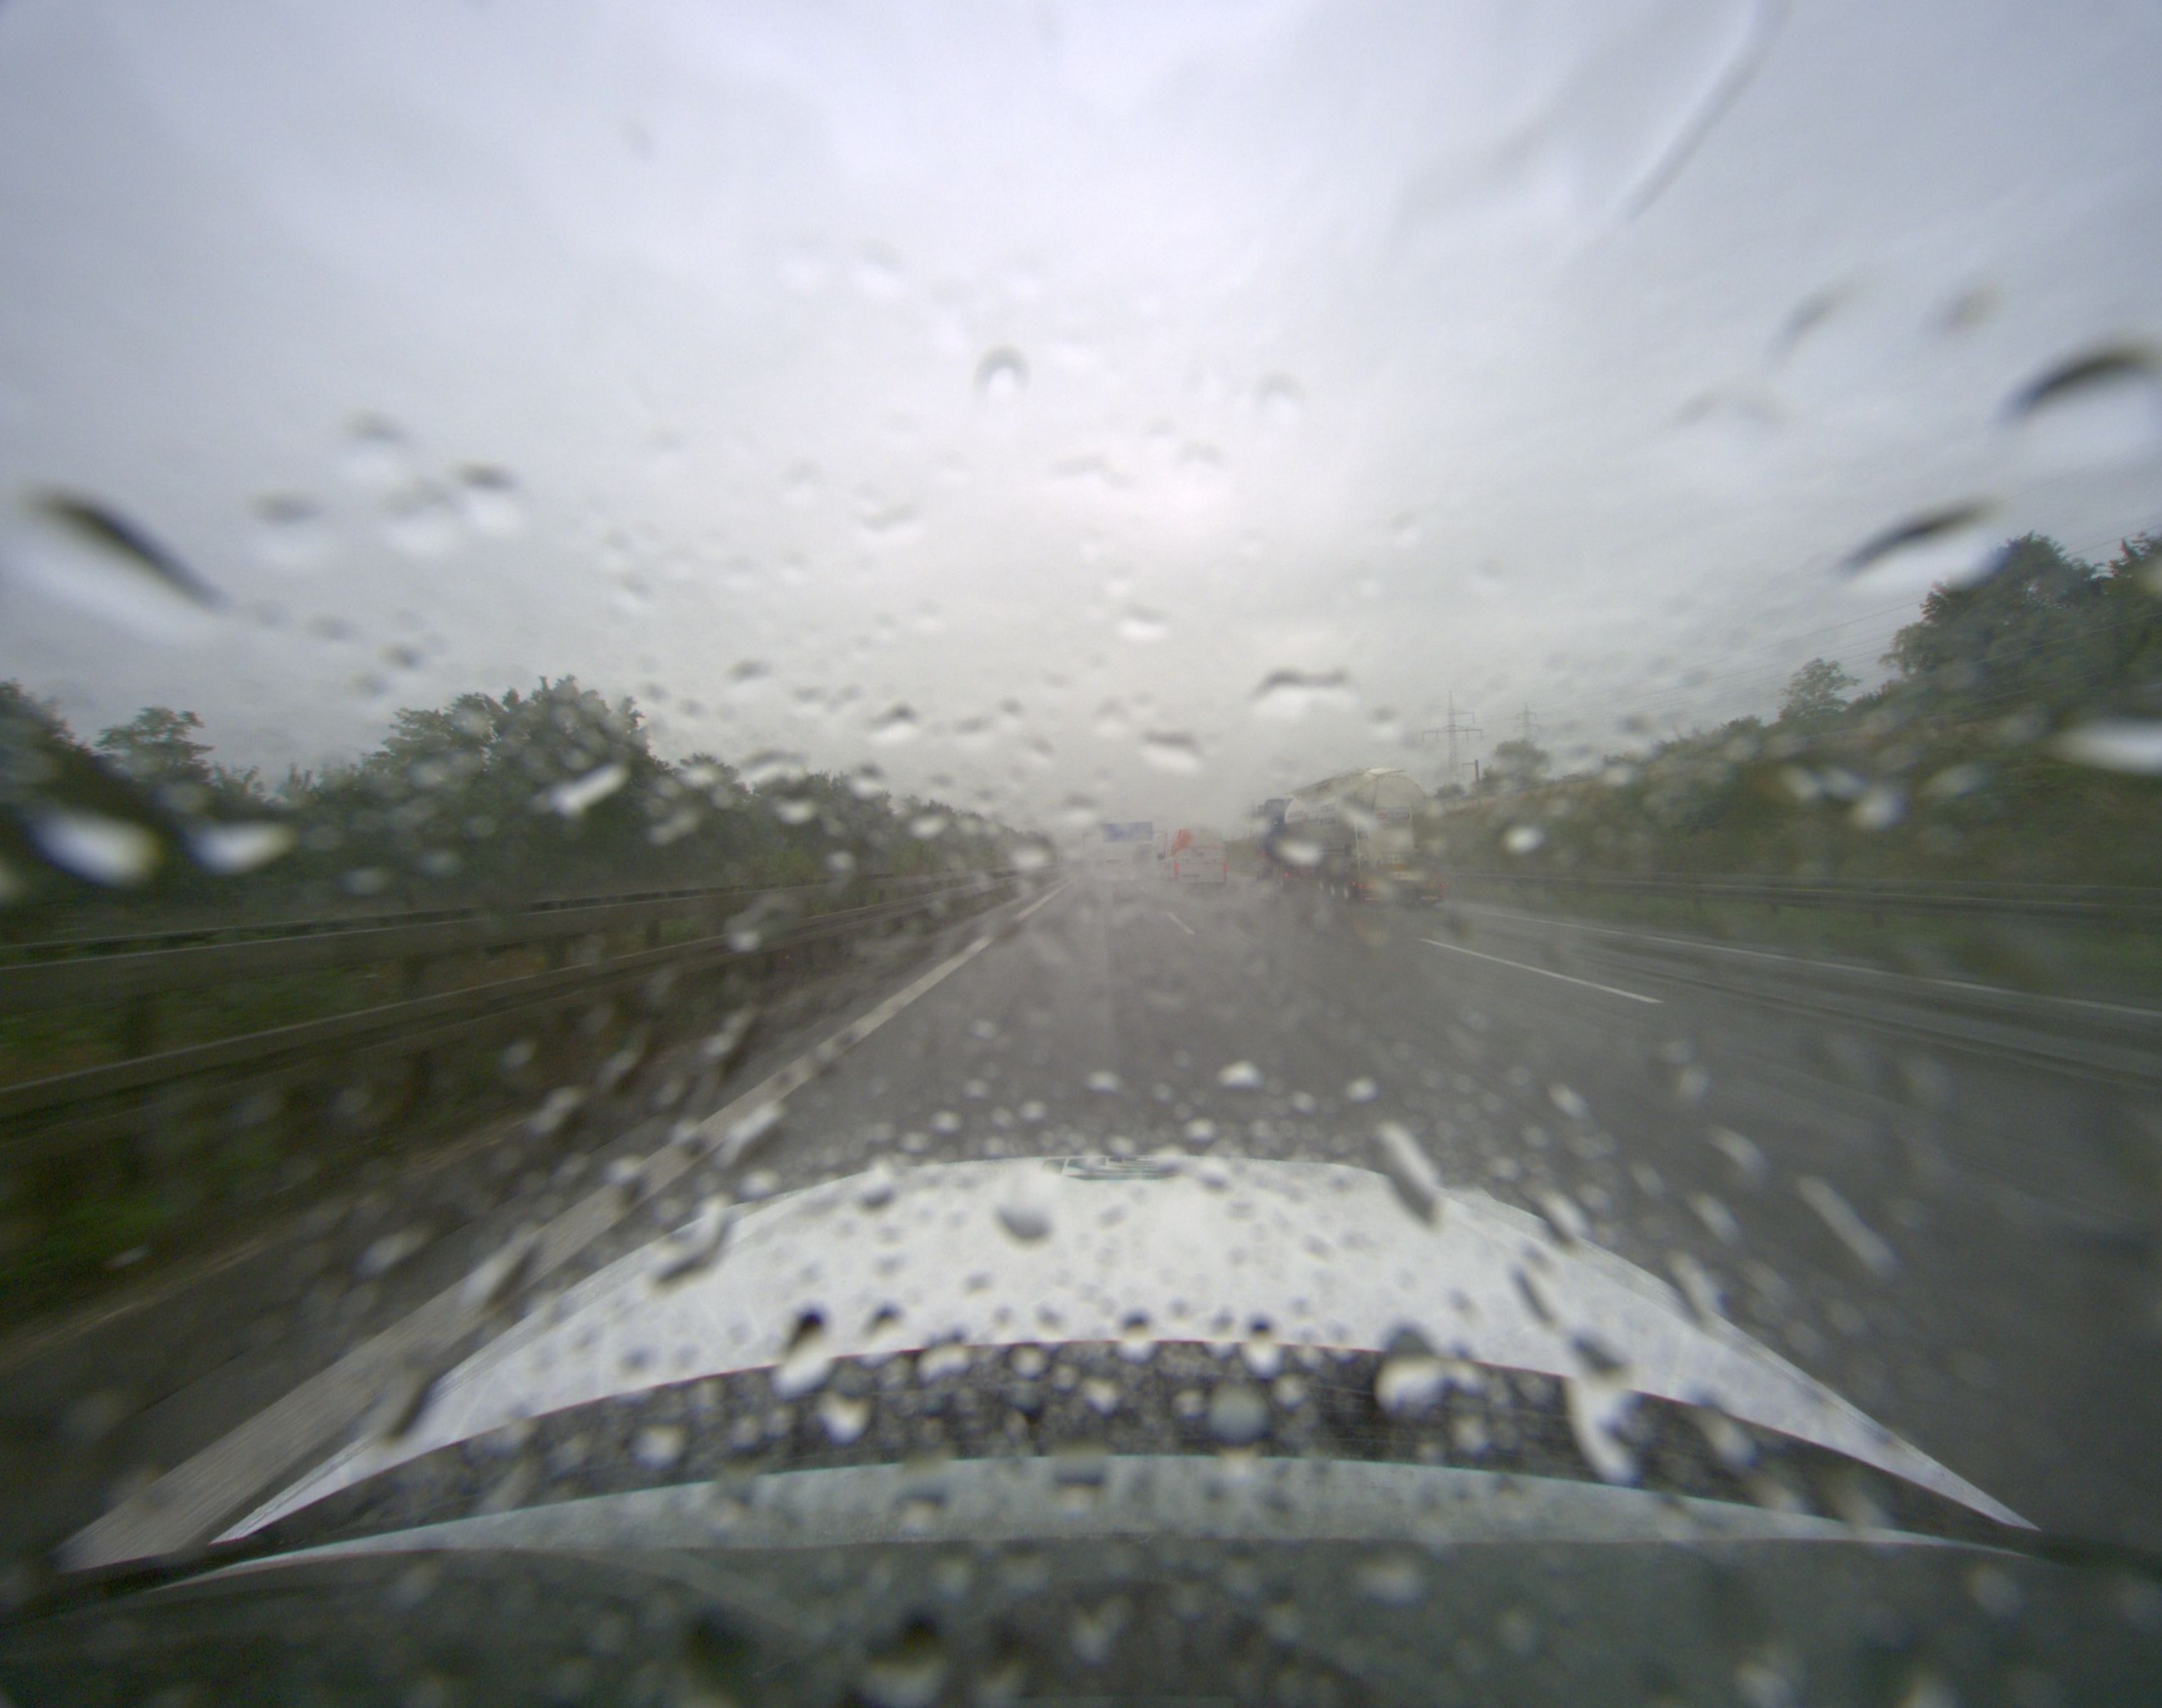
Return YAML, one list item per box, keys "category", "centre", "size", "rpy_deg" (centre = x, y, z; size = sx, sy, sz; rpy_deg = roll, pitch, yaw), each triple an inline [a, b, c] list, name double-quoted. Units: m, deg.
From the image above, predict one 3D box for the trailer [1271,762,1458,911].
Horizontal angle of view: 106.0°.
- category: "trailer"
  centre: [8.698, -0.490, 26.820]
  size: [2.488, 3.882, 11.068]
  rpy_deg: [0, 0, 1]

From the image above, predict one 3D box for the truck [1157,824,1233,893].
- category: "truck"
  centre: [4.392, 0.146, 32.301]
  size: [2.410, 2.492, 5.563]
  rpy_deg: [0, 0, 2]

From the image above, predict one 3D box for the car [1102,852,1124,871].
- category: "car"
  centre: [2.426, 0.552, 61.806]
  size: [1.599, 1.338, 3.849]
  rpy_deg: [0, 0, 1]

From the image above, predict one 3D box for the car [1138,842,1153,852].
- category: "car"
  centre: [12.404, -1.319, 156.833]
  size: [2.778, 2.013, 4.994]
  rpy_deg: [0, 0, 1]

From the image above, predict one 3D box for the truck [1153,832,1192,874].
- category: "truck"
  centre: [10.720, 0.010, 96.957]
  size: [3.029, 4.588, 16.351]
  rpy_deg: [0, -1, 1]

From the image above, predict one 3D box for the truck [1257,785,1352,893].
- category: "truck"
  centre: [8.784, -0.566, 32.589]
  size: [2.488, 3.983, 5.076]
  rpy_deg: [0, 0, 1]
